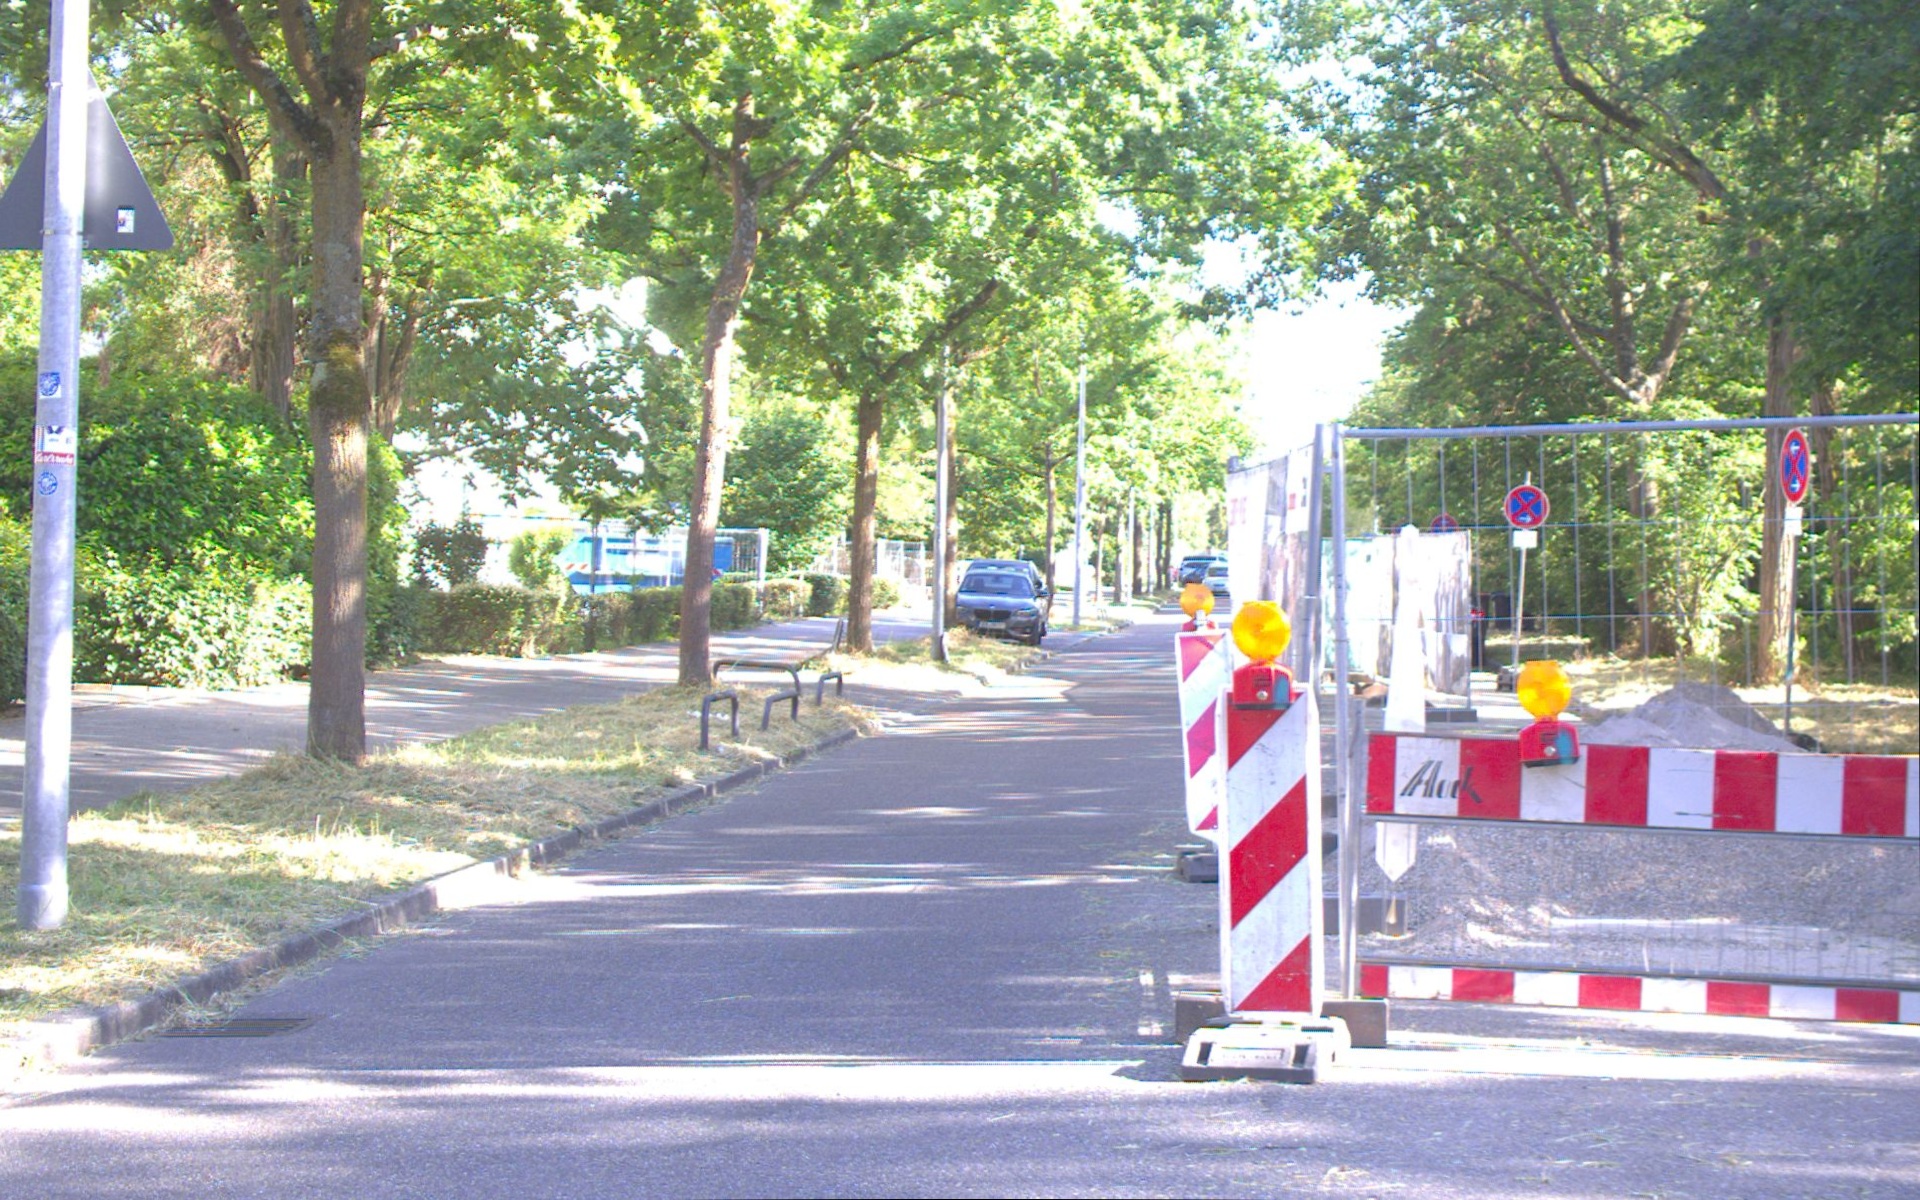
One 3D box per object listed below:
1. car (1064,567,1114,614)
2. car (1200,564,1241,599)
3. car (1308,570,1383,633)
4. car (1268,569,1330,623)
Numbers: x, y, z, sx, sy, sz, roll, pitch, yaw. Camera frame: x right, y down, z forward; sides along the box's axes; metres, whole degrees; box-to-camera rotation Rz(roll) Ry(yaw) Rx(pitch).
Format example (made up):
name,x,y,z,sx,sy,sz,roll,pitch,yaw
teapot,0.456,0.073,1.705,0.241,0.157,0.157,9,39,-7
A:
name,x,y,z,sx,sy,sz,roll,pitch,yaw
car,3.789,-0.270,100.666,1.361,1.298,3.481,2,0,3
car,12.412,-0.888,163.854,1.711,1.579,4.000,2,0,2
car,8.338,0.038,74.593,1.361,1.298,3.481,2,0,3
car,8.629,-0.088,87.590,1.361,1.298,3.481,2,0,3
